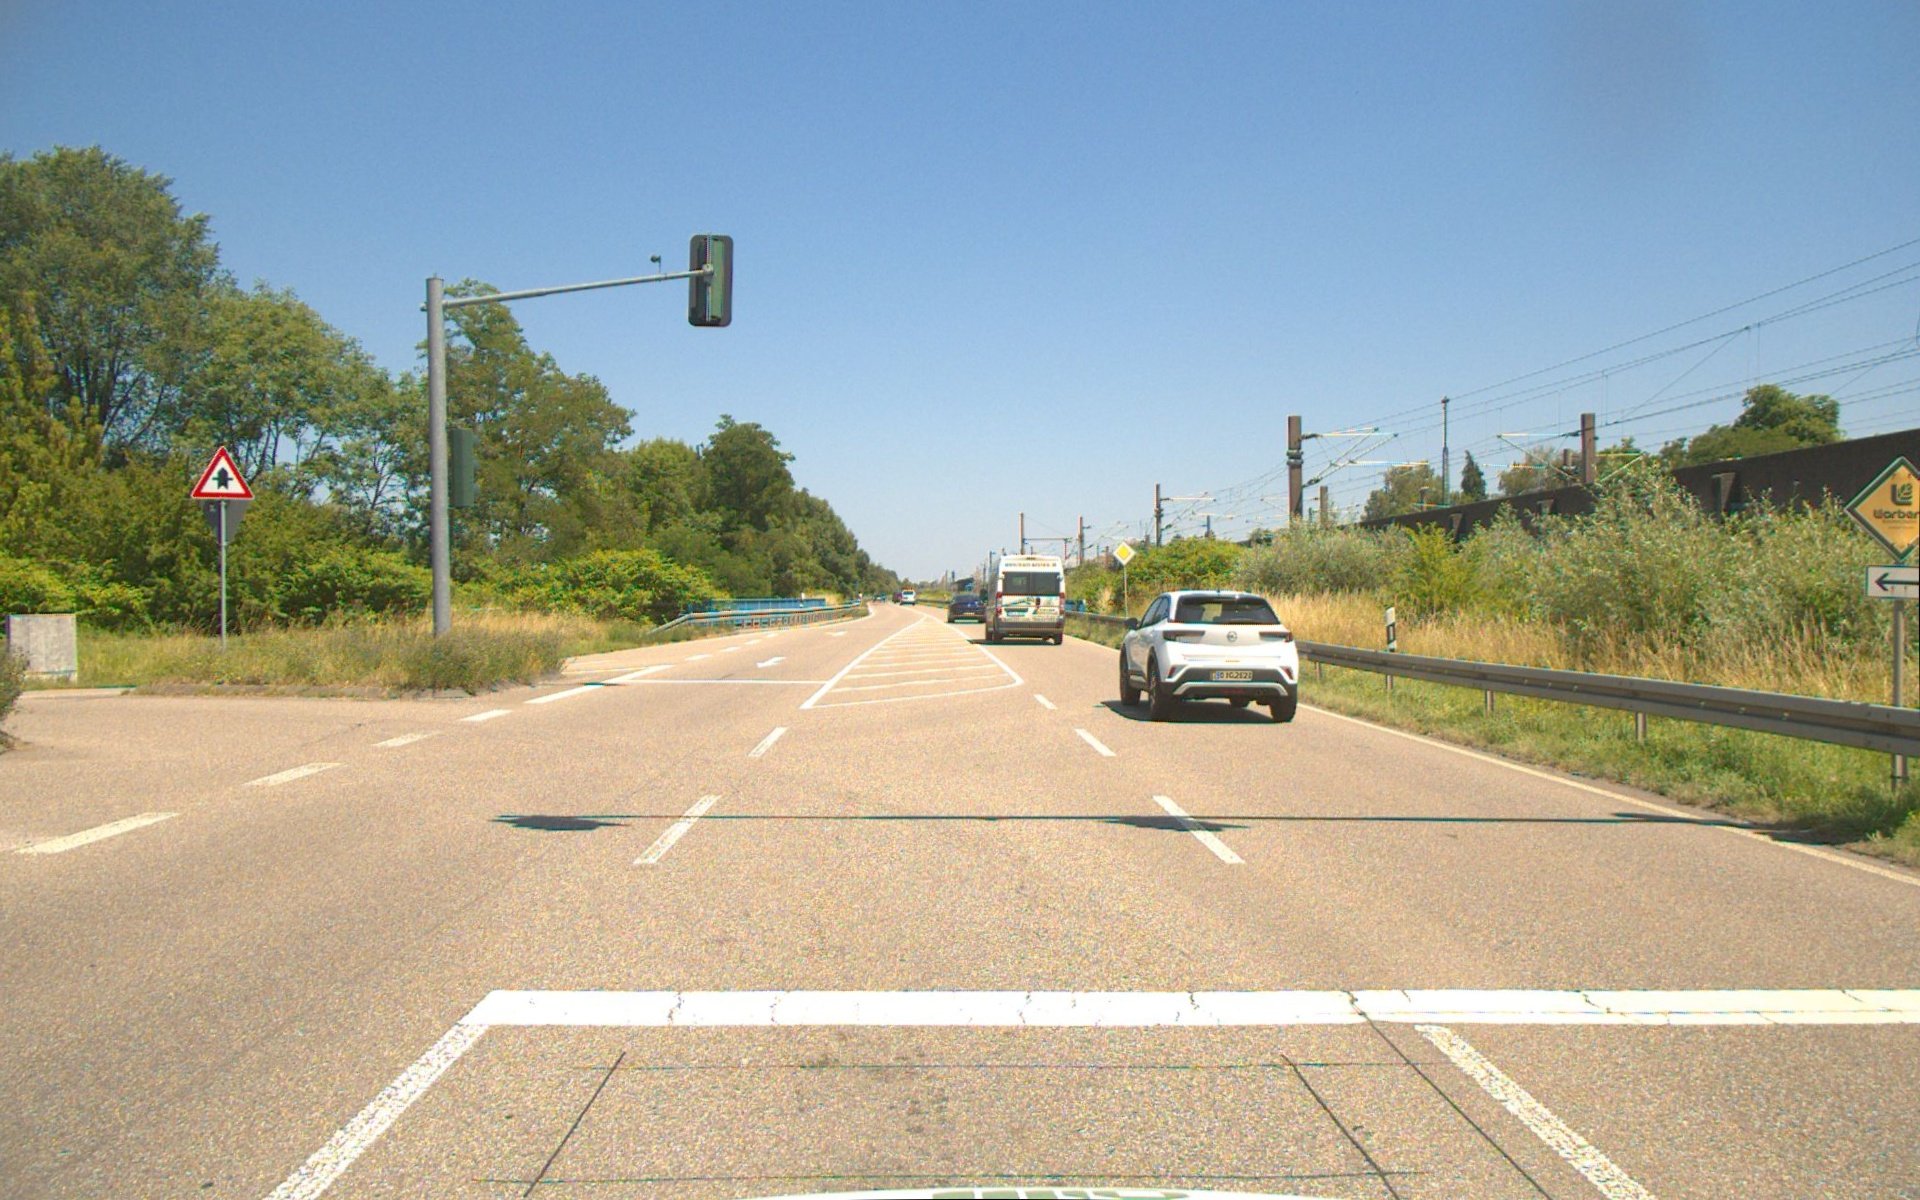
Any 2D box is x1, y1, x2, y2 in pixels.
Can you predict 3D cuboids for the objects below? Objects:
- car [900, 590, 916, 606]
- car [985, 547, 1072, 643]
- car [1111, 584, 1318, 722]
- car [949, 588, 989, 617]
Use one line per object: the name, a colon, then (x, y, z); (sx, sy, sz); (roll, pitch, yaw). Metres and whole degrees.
car: (-6.687, -0.209, 213.109); (1.953, 2.018, 4.058); (1, 0, -3)
car: (1.963, -0.175, 49.602); (2.144, 2.649, 6.749); (1, 0, -1)
car: (3.157, 0.603, 21.345); (1.782, 1.591, 4.276); (0, 0, -3)
car: (0.415, 0.116, 82.686); (1.819, 1.404, 4.502); (1, 0, -2)
